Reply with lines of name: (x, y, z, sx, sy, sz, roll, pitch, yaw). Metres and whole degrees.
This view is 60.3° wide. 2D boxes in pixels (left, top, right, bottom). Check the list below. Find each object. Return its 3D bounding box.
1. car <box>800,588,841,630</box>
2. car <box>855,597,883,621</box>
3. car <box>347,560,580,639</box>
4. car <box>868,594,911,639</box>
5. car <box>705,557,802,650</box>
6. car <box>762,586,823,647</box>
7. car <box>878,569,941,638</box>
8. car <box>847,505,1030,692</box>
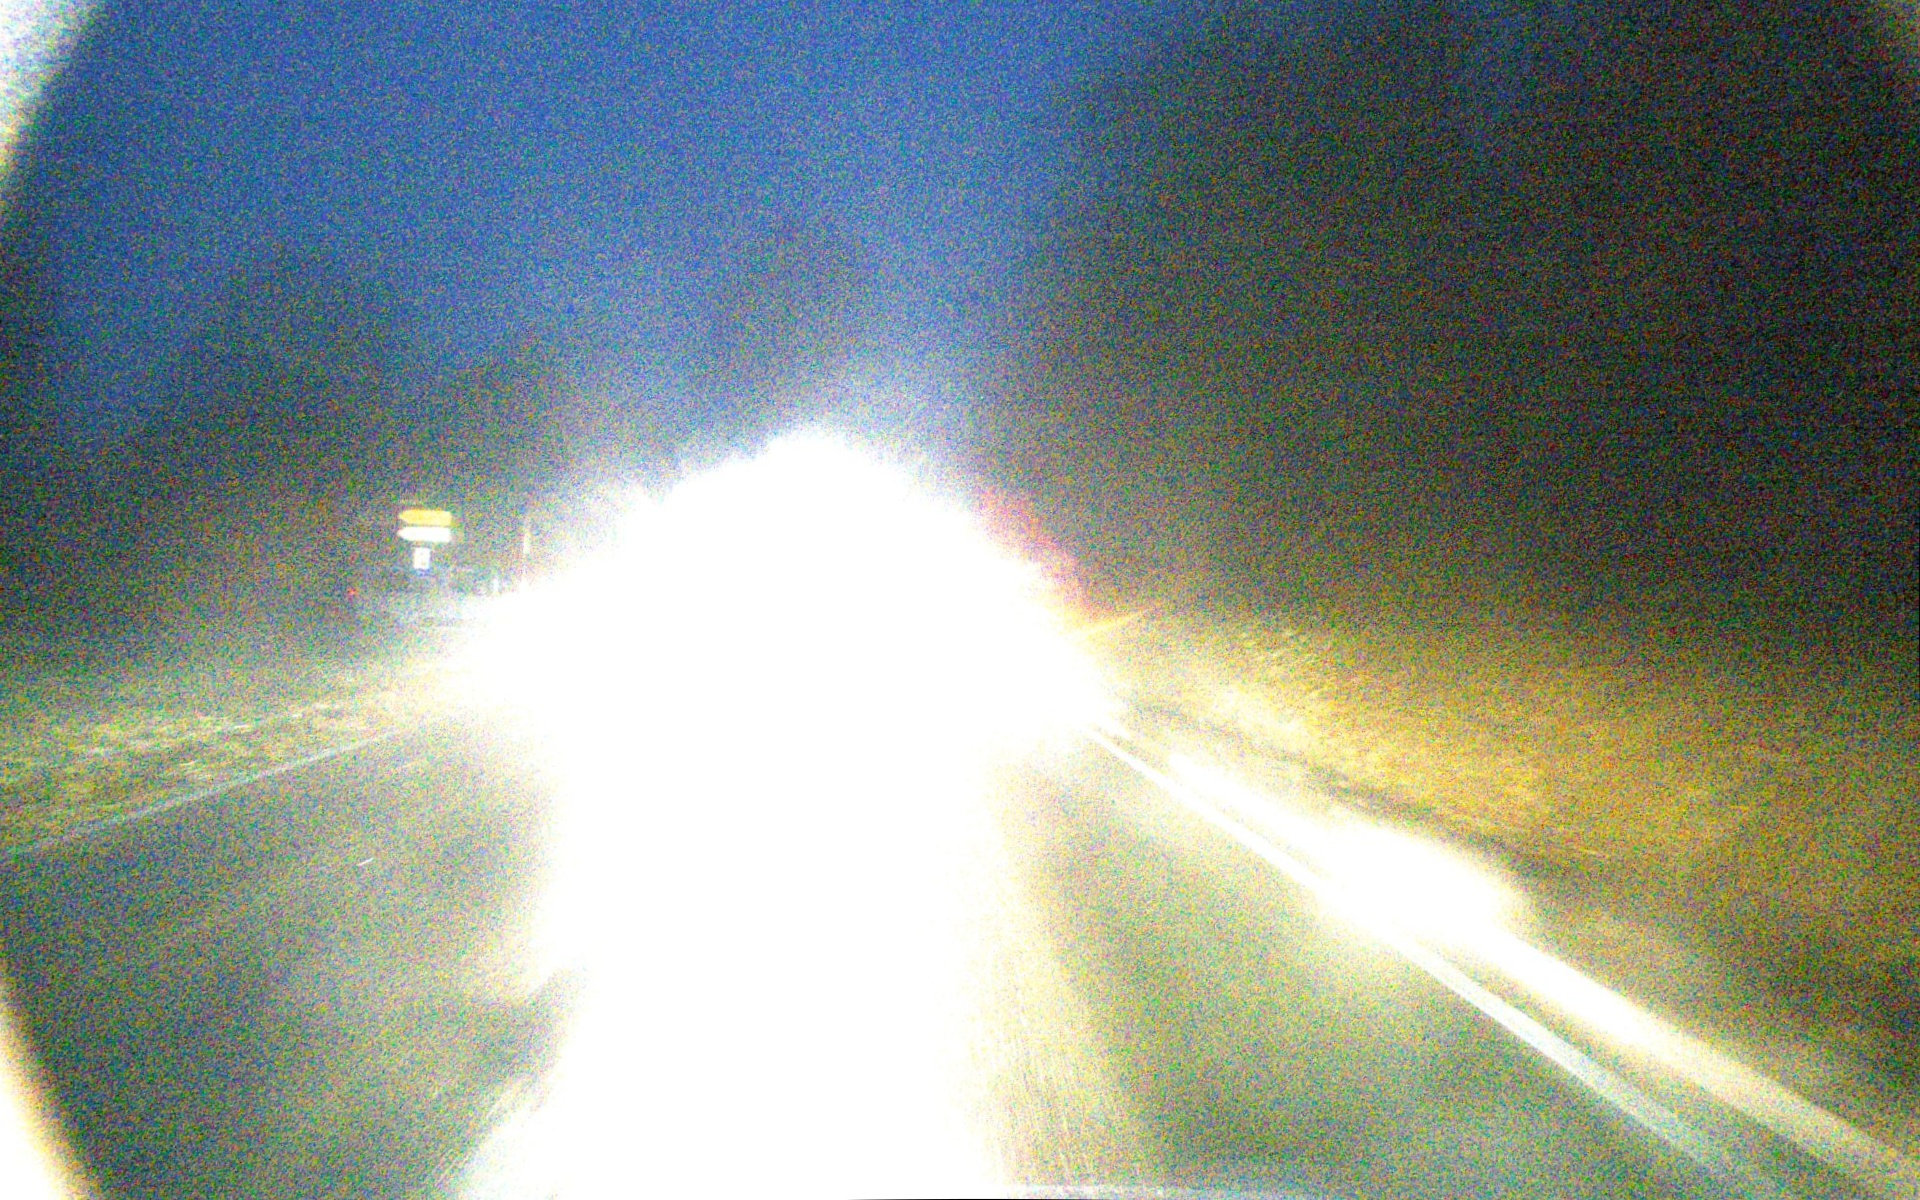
car: (-6.907, 0.455, 82.192, 1.854, 1.944, 3.792, 3, -1, -4)
car: (-6.006, 0.607, 109.386, 1.627, 1.507, 3.583, 3, -1, -1)
car: (-11.338, -0.020, 38.059, 4.816, 1.765, 1.998, 0, 0, -5)
car: (-3.020, 0.727, 71.376, 1.705, 1.744, 3.698, 3, -2, -1)
car: (-4.289, 0.029, 34.813, 1.719, 1.764, 3.997, 3, 1, -4)
car: (-6.210, 0.626, 61.710, 1.954, 2.103, 3.997, 3, -1, -3)
car: (-1.696, 0.156, 55.024, 1.954, 2.049, 3.997, 3, -2, -2)
car: (-0.440, -0.054, 25.353, 2.488, 2.541, 5.711, 0, 1, -3)
